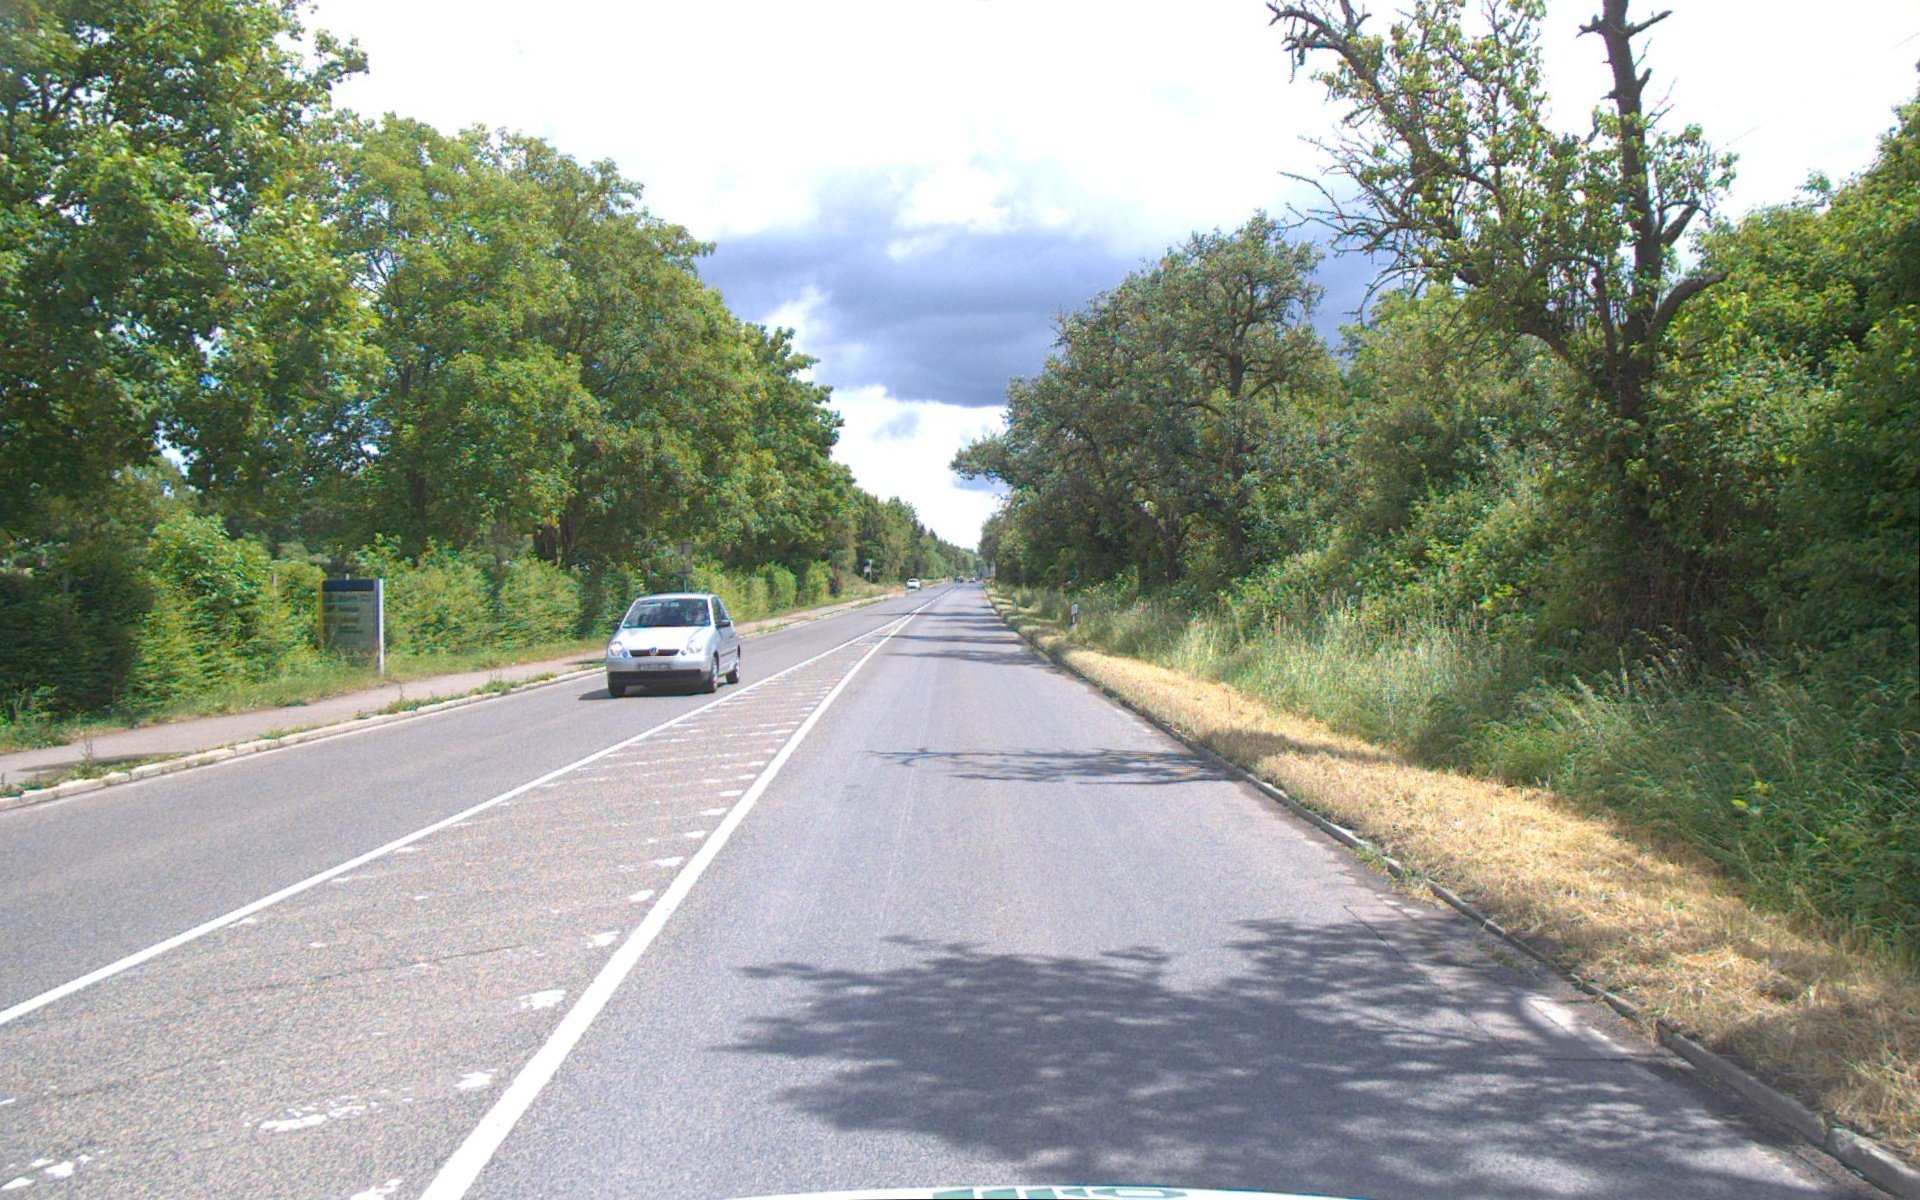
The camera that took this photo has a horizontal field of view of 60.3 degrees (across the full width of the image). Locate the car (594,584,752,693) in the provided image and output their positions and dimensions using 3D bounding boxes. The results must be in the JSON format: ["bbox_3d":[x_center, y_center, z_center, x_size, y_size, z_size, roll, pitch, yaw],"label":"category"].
[{"bbox_3d":[-4.266,0.520,25.084,1.626,1.457,3.693,-2,1,1],"label":"car"}]

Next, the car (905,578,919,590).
[{"bbox_3d":[-6.744,-2.214,234.239,1.761,1.570,3.955,-1,-1,1],"label":"car"}]
